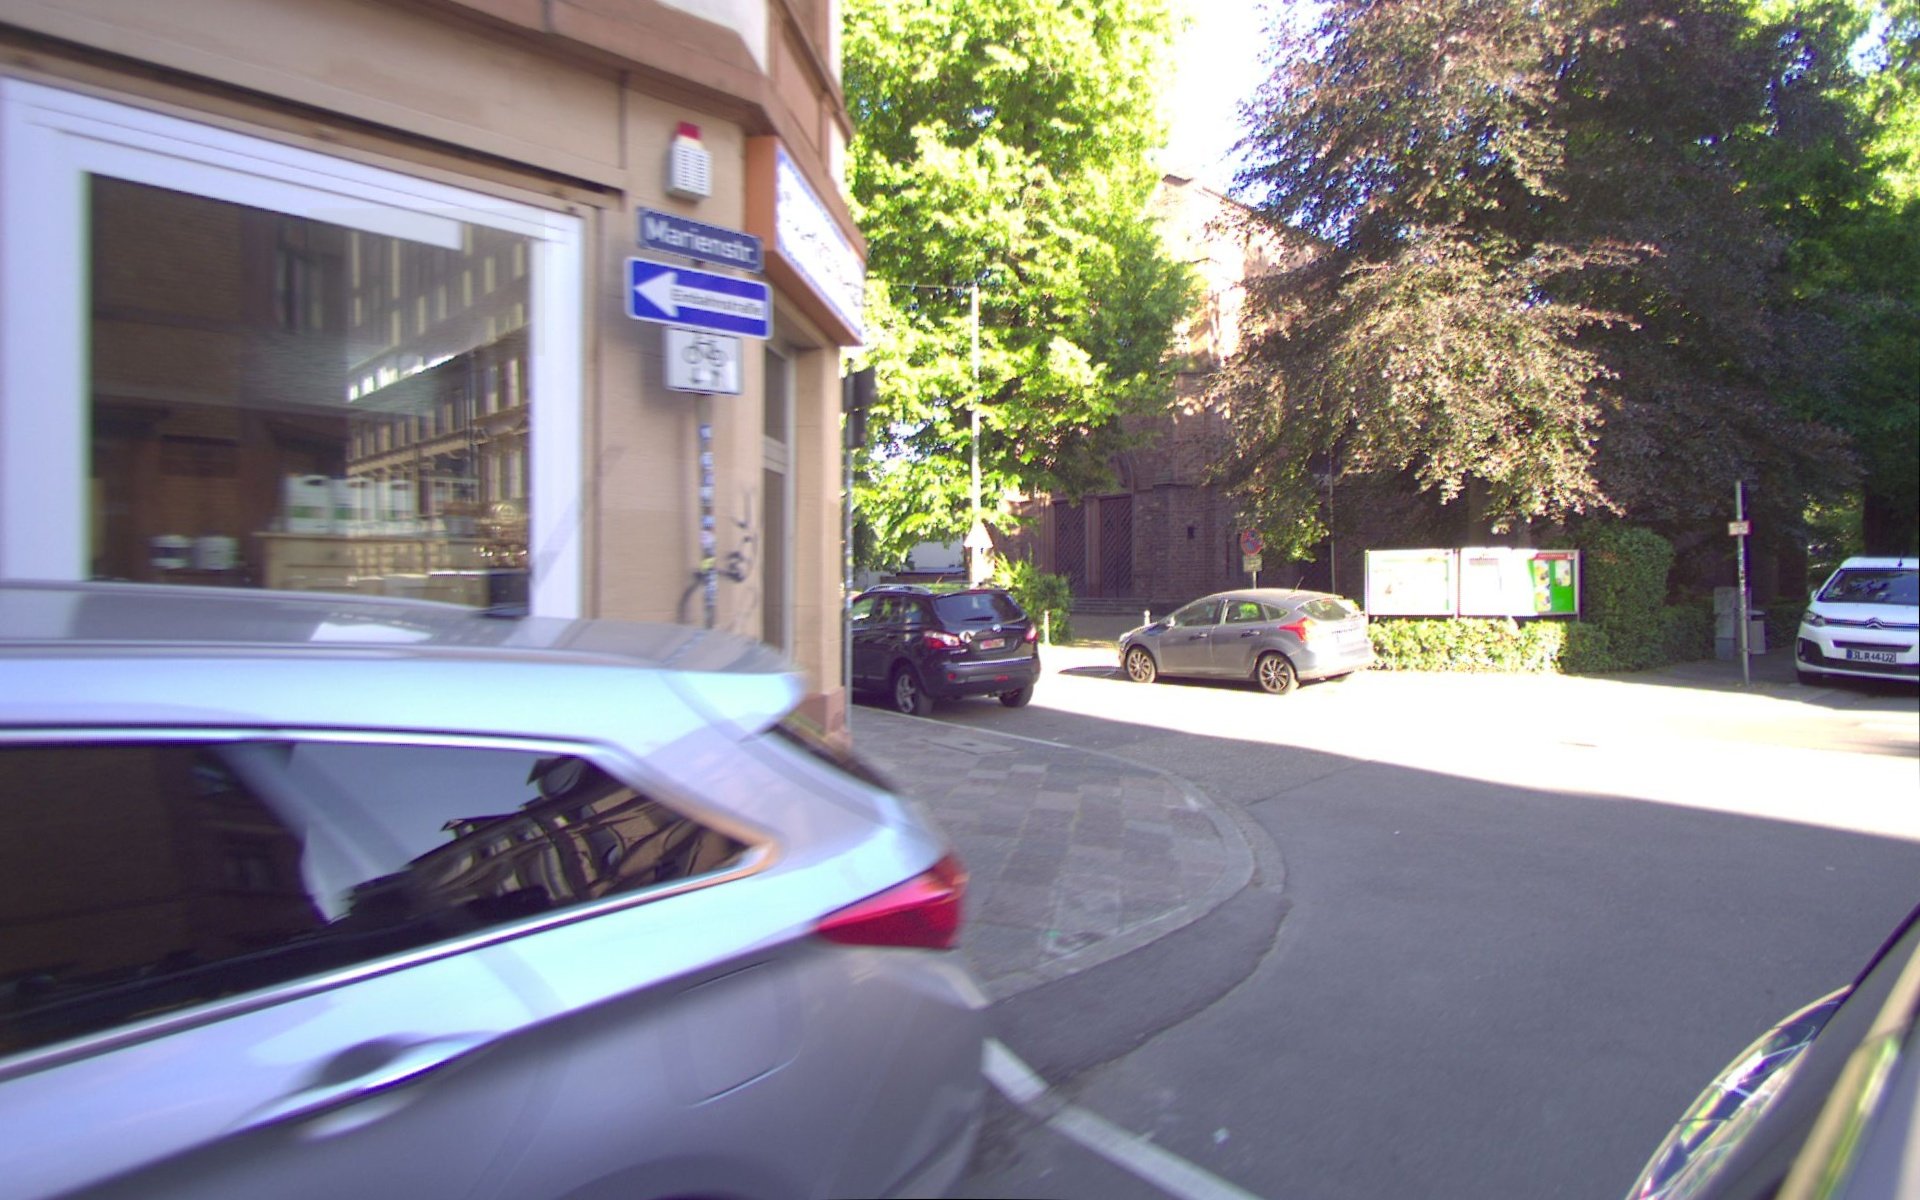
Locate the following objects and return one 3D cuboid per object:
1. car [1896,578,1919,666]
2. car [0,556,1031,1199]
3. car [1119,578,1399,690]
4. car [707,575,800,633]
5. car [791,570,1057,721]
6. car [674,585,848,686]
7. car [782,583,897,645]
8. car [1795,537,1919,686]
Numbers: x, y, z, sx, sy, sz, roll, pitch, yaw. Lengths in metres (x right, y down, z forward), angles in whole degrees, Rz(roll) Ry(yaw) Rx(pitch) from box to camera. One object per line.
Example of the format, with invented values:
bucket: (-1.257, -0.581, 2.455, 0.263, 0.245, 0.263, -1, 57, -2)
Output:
car: (19.002, 0.382, 19.079, 3.764, 1.590, 1.721, -1, 1, -43)
car: (-2.026, 0.714, 1.169, 4.284, 1.525, 1.746, -1, 3, -43)
car: (4.552, 0.447, 15.892, 1.765, 1.457, 3.929, -3, 2, -37)
car: (-6.508, 0.101, 31.680, 1.602, 1.669, 3.544, -3, 2, -33)
car: (-0.629, 0.467, 13.408, 1.728, 1.627, 3.934, -3, 2, -33)
car: (-3.569, 0.528, 17.635, 1.602, 1.491, 3.869, -3, 2, -33)
car: (-3.267, 0.327, 26.895, 1.602, 1.491, 3.544, -3, 2, -33)
car: (14.694, 0.130, 15.507, 4.704, 2.023, 1.920, 0, 3, -38)
